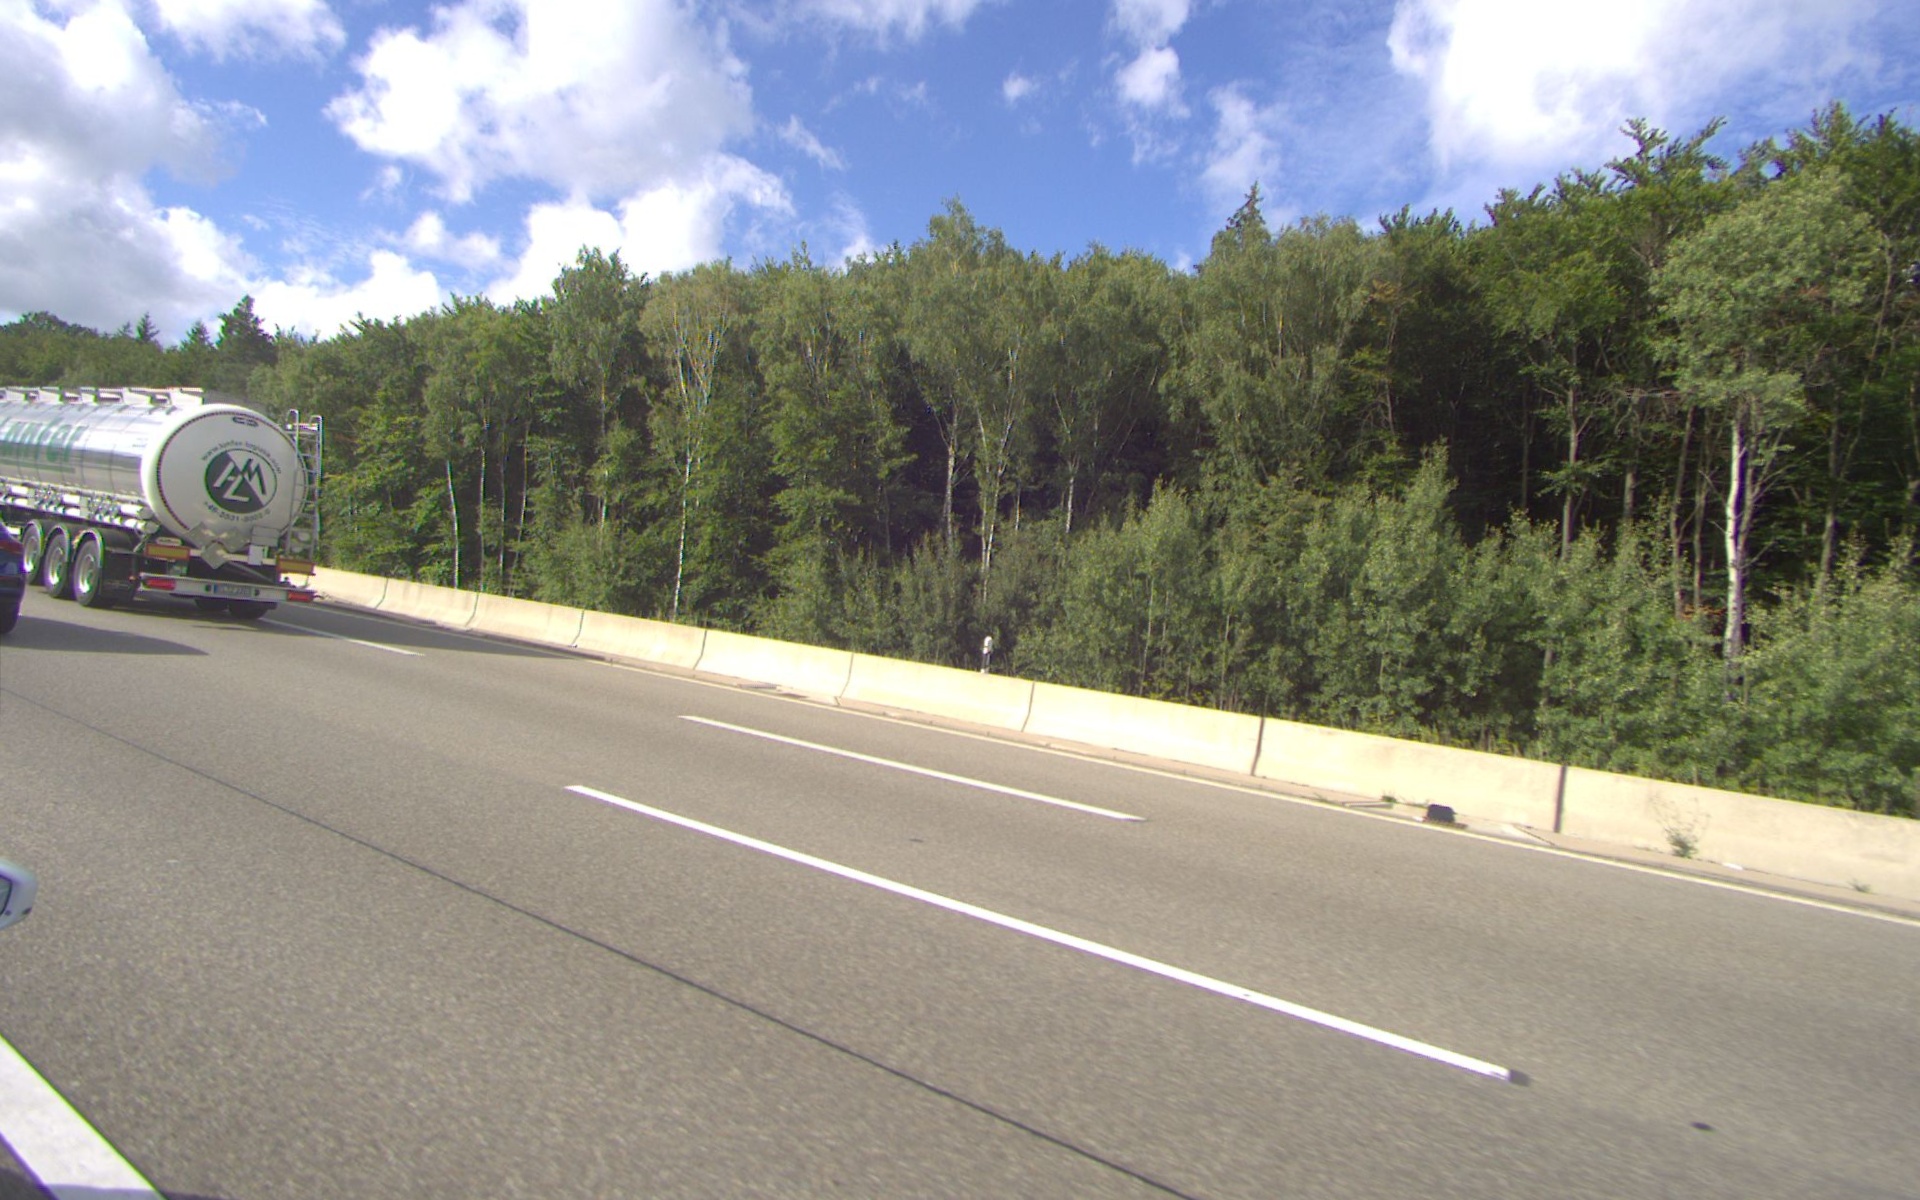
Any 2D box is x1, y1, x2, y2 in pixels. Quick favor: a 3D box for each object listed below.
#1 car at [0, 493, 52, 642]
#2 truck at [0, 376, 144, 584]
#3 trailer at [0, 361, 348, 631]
[{"bbox_3d":[-12.258,-0.608,11.328,4.384,1.548,1.776,7,-1,32],"label":"car"},{"bbox_3d":[-21.010,-2.676,22.222,5.983,3.870,2.651,7,0,33],"label":"truck"},{"bbox_3d":[-16.023,-2.044,18.962,11.667,3.813,2.651,7,0,33],"label":"trailer"}]
